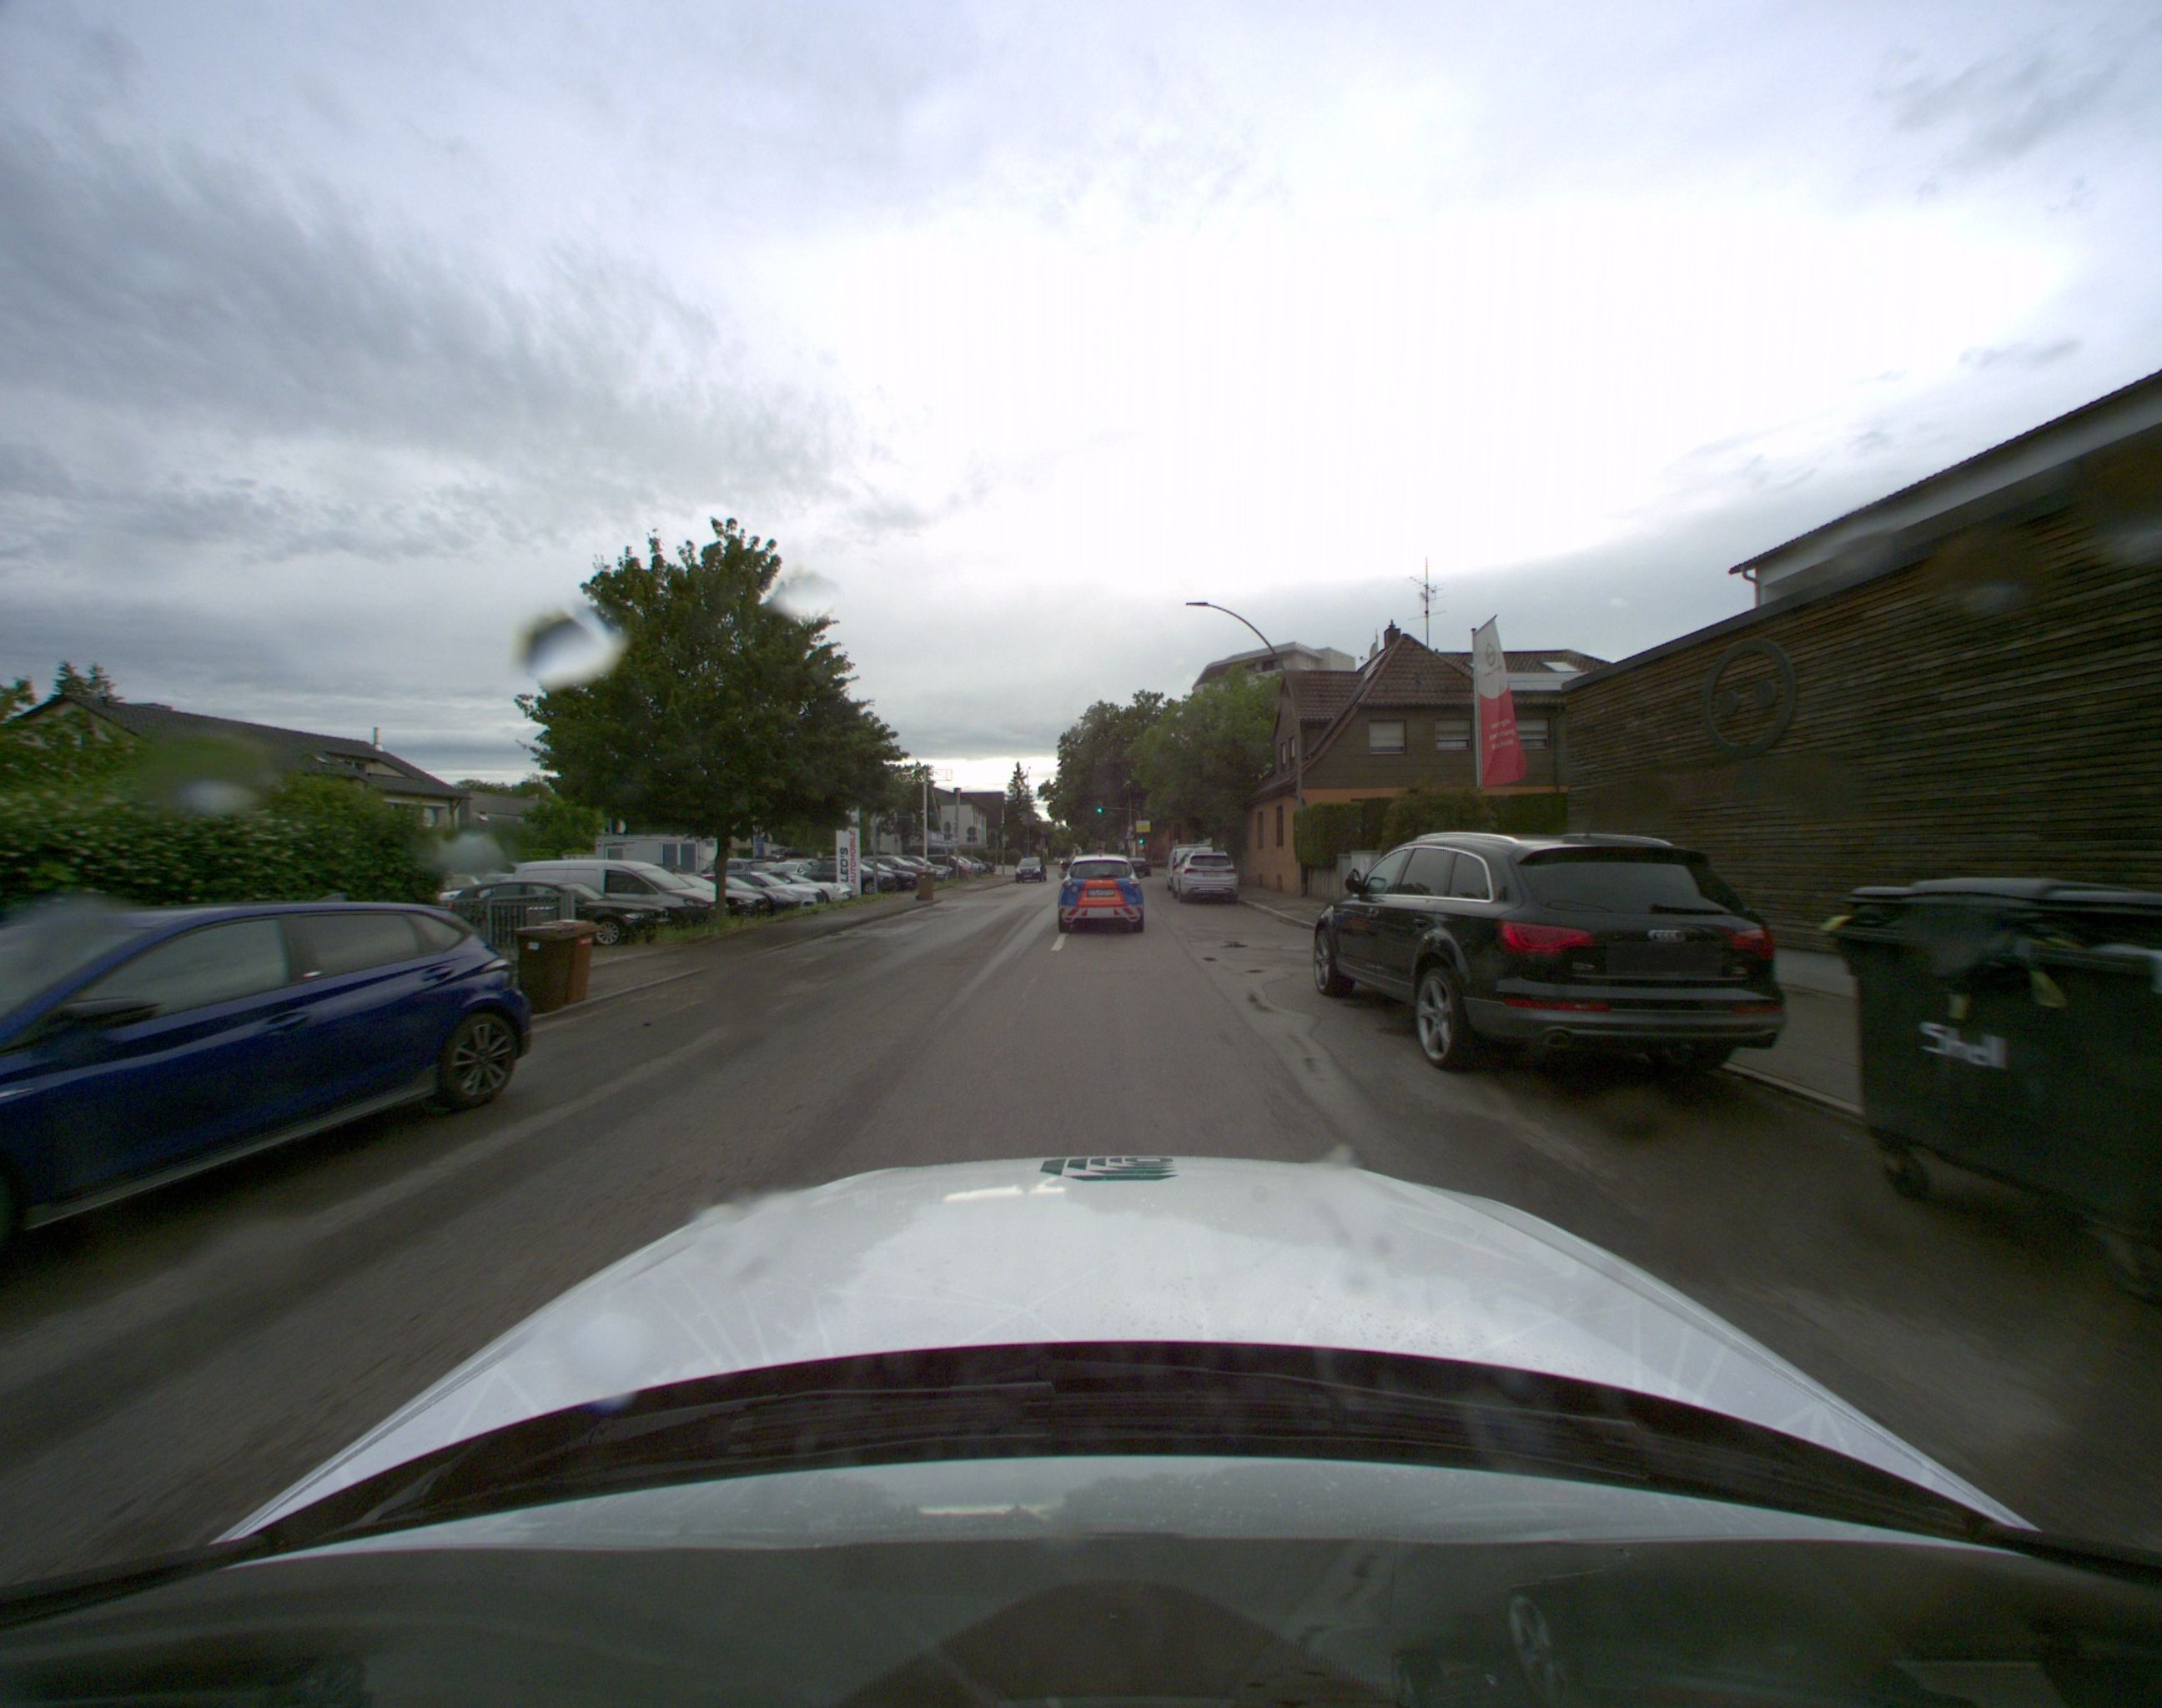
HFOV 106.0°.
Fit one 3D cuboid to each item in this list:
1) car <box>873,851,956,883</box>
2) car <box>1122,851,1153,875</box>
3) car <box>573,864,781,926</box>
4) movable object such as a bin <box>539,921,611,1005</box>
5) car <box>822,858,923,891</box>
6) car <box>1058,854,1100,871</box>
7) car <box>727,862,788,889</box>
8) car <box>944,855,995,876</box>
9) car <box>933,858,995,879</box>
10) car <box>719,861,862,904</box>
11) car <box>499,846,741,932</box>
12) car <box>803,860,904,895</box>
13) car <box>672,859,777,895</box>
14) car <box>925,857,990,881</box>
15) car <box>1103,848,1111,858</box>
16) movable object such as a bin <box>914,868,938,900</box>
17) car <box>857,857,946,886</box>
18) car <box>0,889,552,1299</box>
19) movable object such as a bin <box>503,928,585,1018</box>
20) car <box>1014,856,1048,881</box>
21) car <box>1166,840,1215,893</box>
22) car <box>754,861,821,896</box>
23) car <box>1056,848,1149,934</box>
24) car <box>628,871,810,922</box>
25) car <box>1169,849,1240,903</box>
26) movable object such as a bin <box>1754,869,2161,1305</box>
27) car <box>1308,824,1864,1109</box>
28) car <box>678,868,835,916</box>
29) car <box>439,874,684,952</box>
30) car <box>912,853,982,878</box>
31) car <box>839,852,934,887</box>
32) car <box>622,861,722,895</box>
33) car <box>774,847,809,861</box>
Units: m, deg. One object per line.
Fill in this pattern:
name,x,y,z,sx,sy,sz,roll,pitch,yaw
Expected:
car,-9.576,0.738,47.113,4.330,1.690,1.960,-1,0,2
car,3.893,0.591,55.617,1.984,1.574,4.006,0,1,5
car,-10.692,1.053,21.804,4.546,1.418,1.896,-2,0,-3
movable object such as a bin,-5.891,1.262,9.498,0.538,0.911,0.424,1,0,0
car,-10.011,0.975,39.341,4.330,1.464,1.942,-1,0,2
car,-0.213,0.731,72.965,1.808,1.428,3.956,-1,1,-37
car,-18.371,1.192,46.407,1.684,1.398,4.002,-2,0,2
car,-8.743,0.877,63.867,3.944,1.530,1.618,0,1,-9
car,-8.177,0.994,57.045,3.969,1.441,1.806,0,0,4
car,-10.346,1.002,29.186,4.435,1.332,1.772,-2,0,1
car,-10.763,0.782,19.274,4.546,1.790,1.896,-2,0,-3
car,-10.273,1.033,36.939,3.971,1.464,1.840,-1,0,2
car,-15.698,1.017,35.869,3.953,1.499,1.947,-1,0,20
car,-8.236,0.991,54.500,3.969,1.544,1.806,0,0,4
car,5.416,-0.242,169.248,1.638,2.017,3.714,-1,1,-1
movable object such as a bin,-5.631,1.067,29.558,0.705,1.130,0.735,-1,0,2
car,-9.794,0.939,44.615,4.330,1.432,1.960,-1,0,2
car,-4.942,1.008,4.112,1.800,1.403,3.946,-3,0,2
movable object such as a bin,-5.968,1.309,9.069,0.538,0.911,0.506,1,0,0
car,-3.057,0.883,50.451,1.619,1.433,3.687,-2,0,3
car,4.509,0.449,34.052,1.769,2.029,4.760,0,1,4
car,-14.434,1.178,40.326,1.684,1.530,4.002,-2,0,2
car,0.470,0.690,17.620,1.739,1.581,4.002,-2,1,2
car,-10.703,1.236,24.334,4.541,1.309,1.890,-2,0,1
car,4.154,0.699,28.014,1.859,1.665,4.321,-1,0,1
movable object such as a bin,4.061,0.787,3.469,1.123,1.388,1.503,-2,0,0
car,3.571,0.615,7.026,2.083,1.662,4.561,0,1,2
car,-10.631,1.220,26.921,4.360,1.374,1.890,-2,0,1
car,-10.721,1.184,17.025,3.902,1.372,1.760,-2,0,-3
car,-8.431,0.703,51.414,3.969,1.544,1.806,0,0,4
car,-9.995,0.770,42.020,4.330,1.691,2.060,-1,0,2
car,-20.316,1.186,40.541,3.975,1.530,1.837,-2,0,-1
car,-39.413,-0.002,110.842,1.974,1.723,4.025,1,1,39
